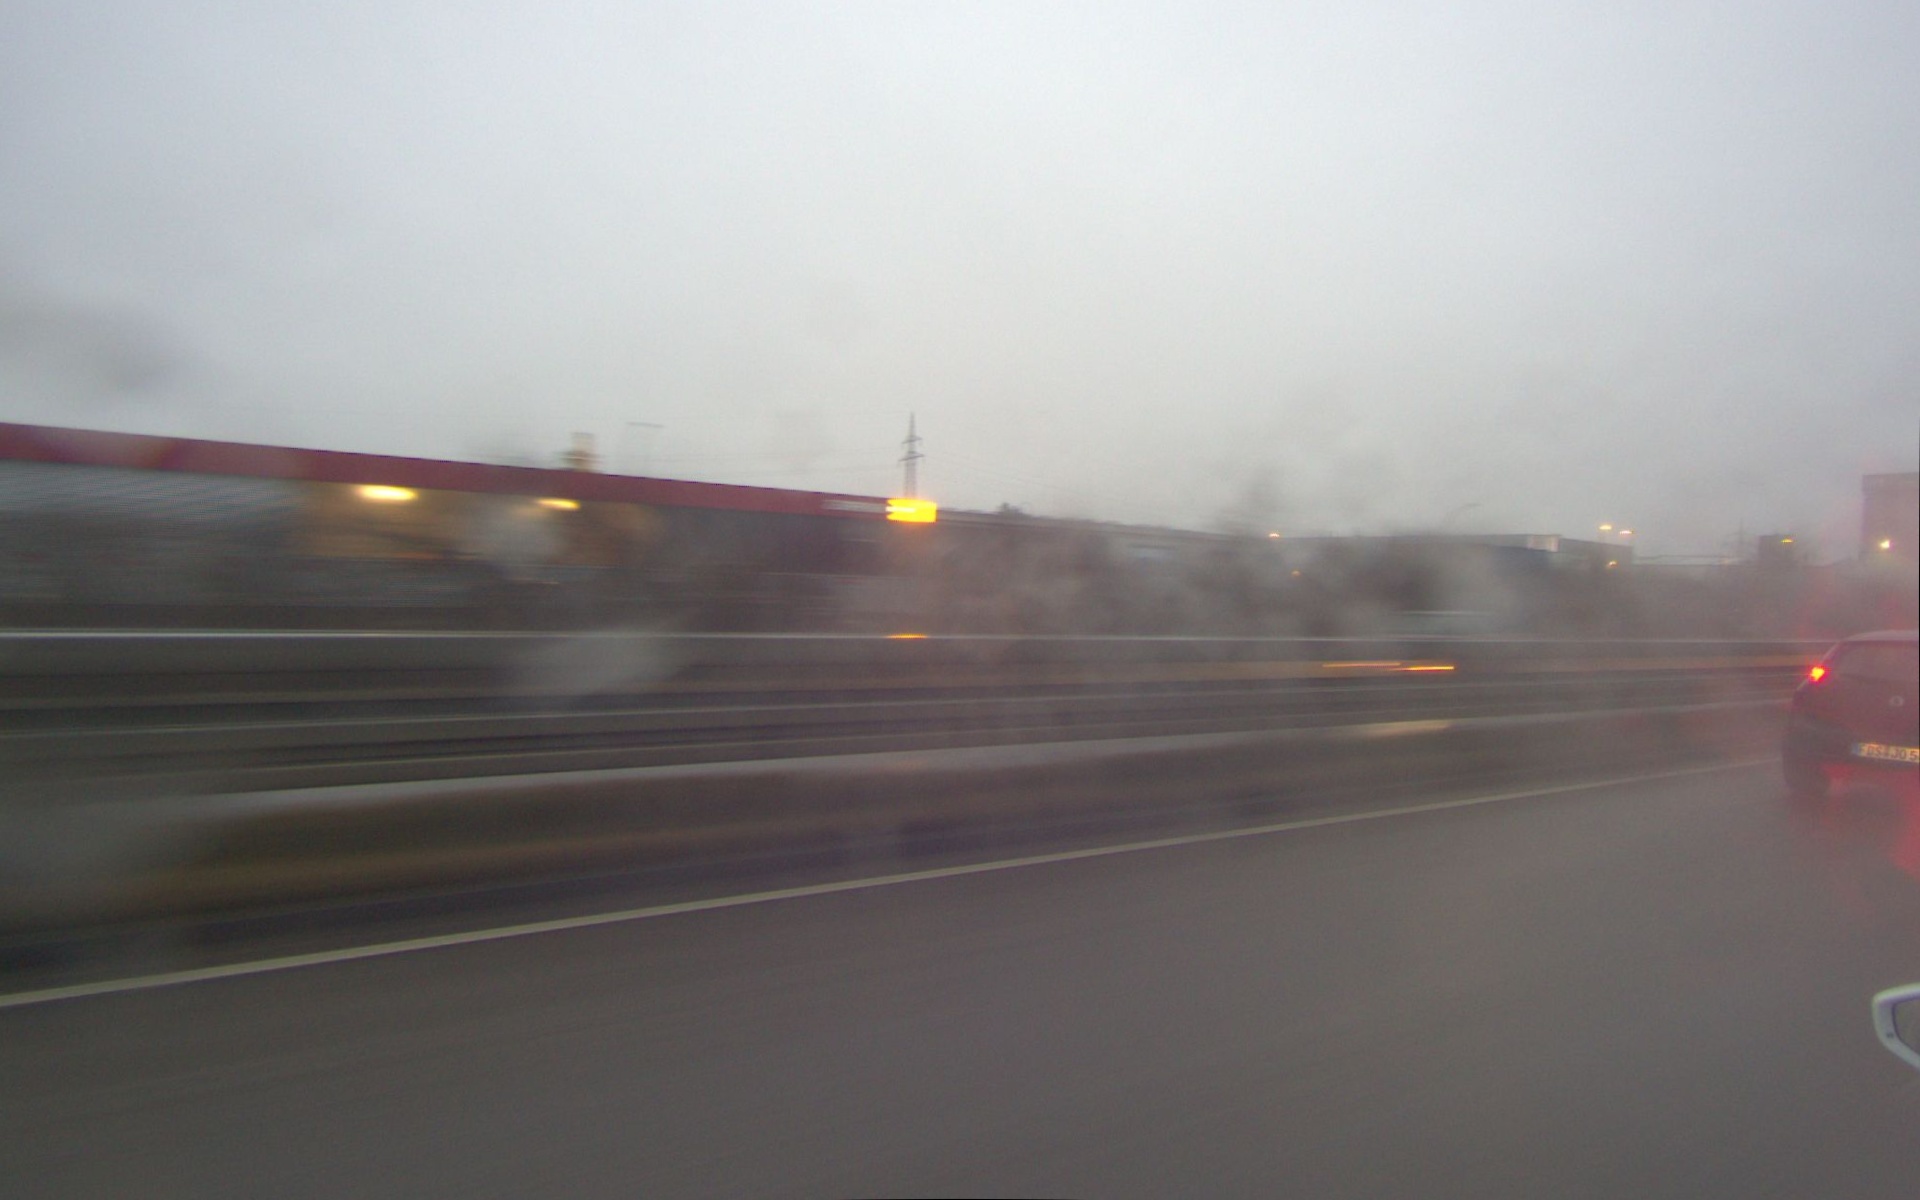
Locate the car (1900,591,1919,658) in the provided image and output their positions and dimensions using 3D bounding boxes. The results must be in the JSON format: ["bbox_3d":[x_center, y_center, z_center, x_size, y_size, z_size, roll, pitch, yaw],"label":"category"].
[{"bbox_3d":[36.500,1.047,36.592,4.831,2.326,1.919,5,-1,-30],"label":"car"}]

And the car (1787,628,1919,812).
[{"bbox_3d":[9.283,1.025,9.030,3.955,1.410,1.617,2,1,-32],"label":"car"}]

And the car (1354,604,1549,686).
[{"bbox_3d":[10.317,0.917,21.047,3.953,1.528,1.728,2,1,-30],"label":"car"}]
